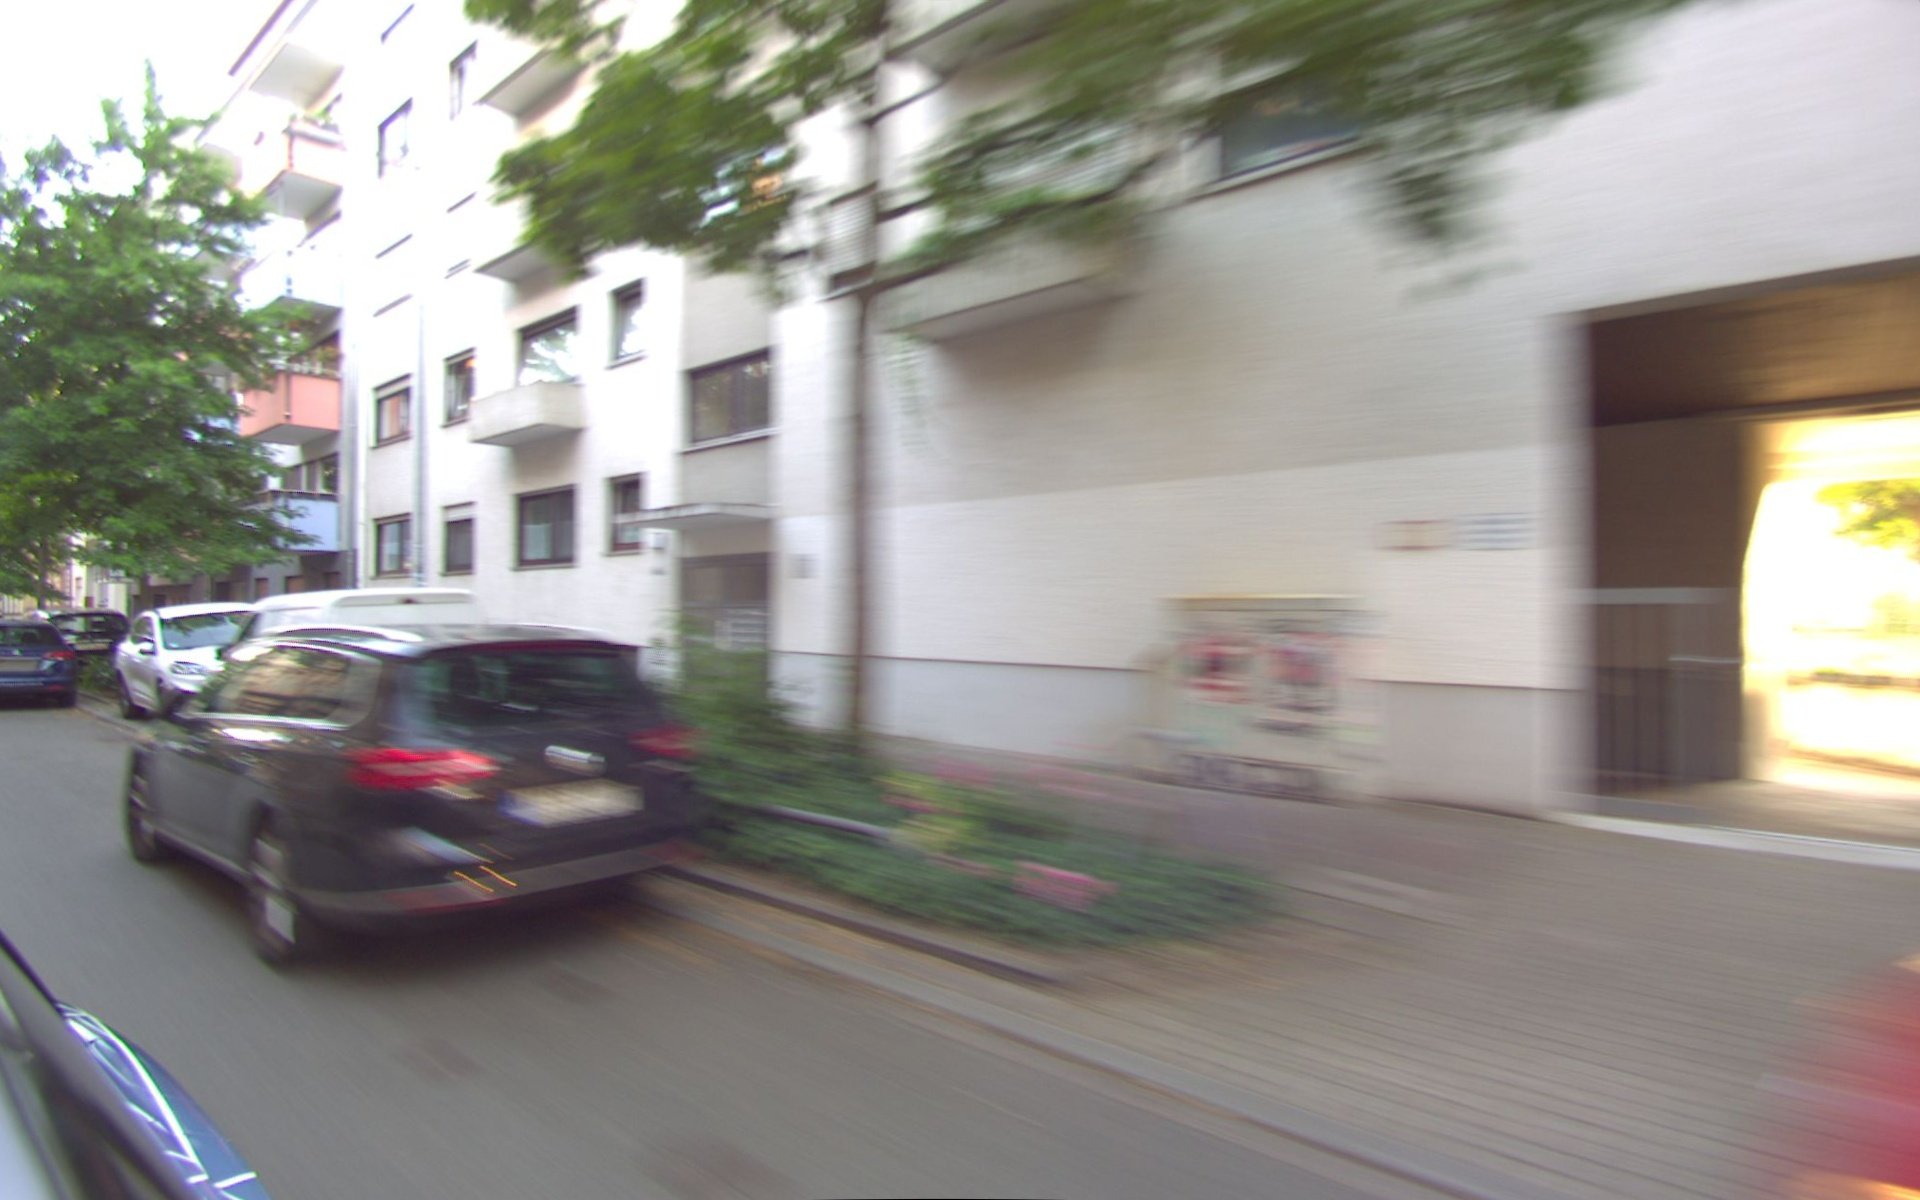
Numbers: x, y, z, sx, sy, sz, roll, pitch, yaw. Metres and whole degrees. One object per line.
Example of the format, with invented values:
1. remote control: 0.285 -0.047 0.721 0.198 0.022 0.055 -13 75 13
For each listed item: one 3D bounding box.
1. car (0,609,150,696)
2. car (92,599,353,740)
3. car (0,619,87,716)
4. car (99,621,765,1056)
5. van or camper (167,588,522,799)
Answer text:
1. car: -19.515 1.081 22.138 4.919 1.659 1.973 -1 0 41
2. car: -10.907 0.914 14.841 4.644 1.685 2.013 -2 1 40
3. car: -16.778 1.089 17.556 4.513 1.529 1.811 -1 -2 41
4. car: -3.210 0.863 5.642 4.501 1.462 1.827 -1 -1 42
5. van or camper: -6.767 0.848 10.930 4.462 1.773 1.912 -2 1 40
